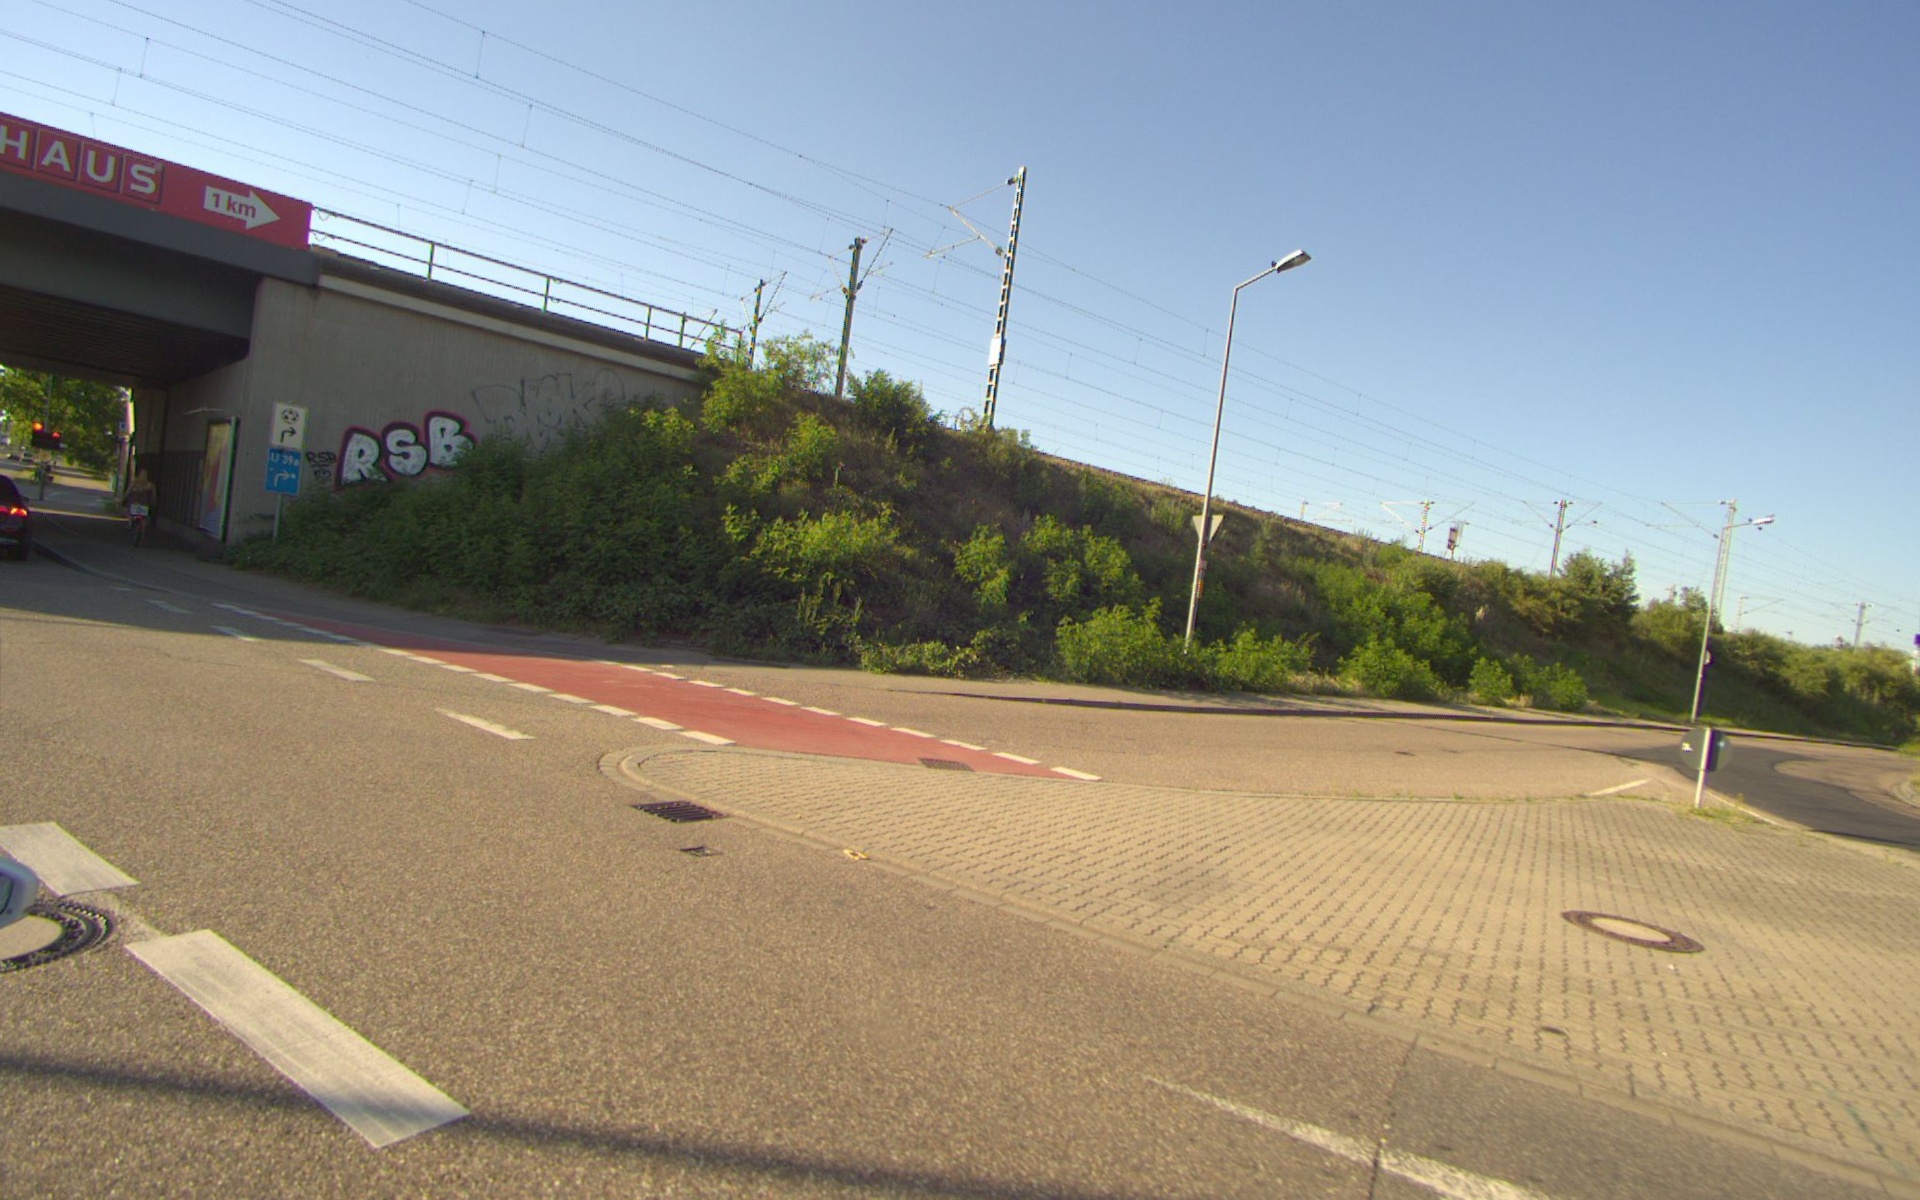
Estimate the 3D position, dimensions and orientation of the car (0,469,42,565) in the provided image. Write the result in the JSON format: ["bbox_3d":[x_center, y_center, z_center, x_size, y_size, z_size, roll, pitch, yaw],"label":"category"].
[{"bbox_3d":[-18.009,-1.691,18.024,4.540,1.472,1.739,9,0,41],"label":"car"}]

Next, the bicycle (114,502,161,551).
[{"bbox_3d":[-18.705,-1.694,22.857,0.577,0.975,2.851,7,0,-43],"label":"bicycle"}]

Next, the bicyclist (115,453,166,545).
[{"bbox_3d":[-18.539,-2.280,22.754,0.680,1.930,0.823,7,1,-43],"label":"bicyclist"}]
